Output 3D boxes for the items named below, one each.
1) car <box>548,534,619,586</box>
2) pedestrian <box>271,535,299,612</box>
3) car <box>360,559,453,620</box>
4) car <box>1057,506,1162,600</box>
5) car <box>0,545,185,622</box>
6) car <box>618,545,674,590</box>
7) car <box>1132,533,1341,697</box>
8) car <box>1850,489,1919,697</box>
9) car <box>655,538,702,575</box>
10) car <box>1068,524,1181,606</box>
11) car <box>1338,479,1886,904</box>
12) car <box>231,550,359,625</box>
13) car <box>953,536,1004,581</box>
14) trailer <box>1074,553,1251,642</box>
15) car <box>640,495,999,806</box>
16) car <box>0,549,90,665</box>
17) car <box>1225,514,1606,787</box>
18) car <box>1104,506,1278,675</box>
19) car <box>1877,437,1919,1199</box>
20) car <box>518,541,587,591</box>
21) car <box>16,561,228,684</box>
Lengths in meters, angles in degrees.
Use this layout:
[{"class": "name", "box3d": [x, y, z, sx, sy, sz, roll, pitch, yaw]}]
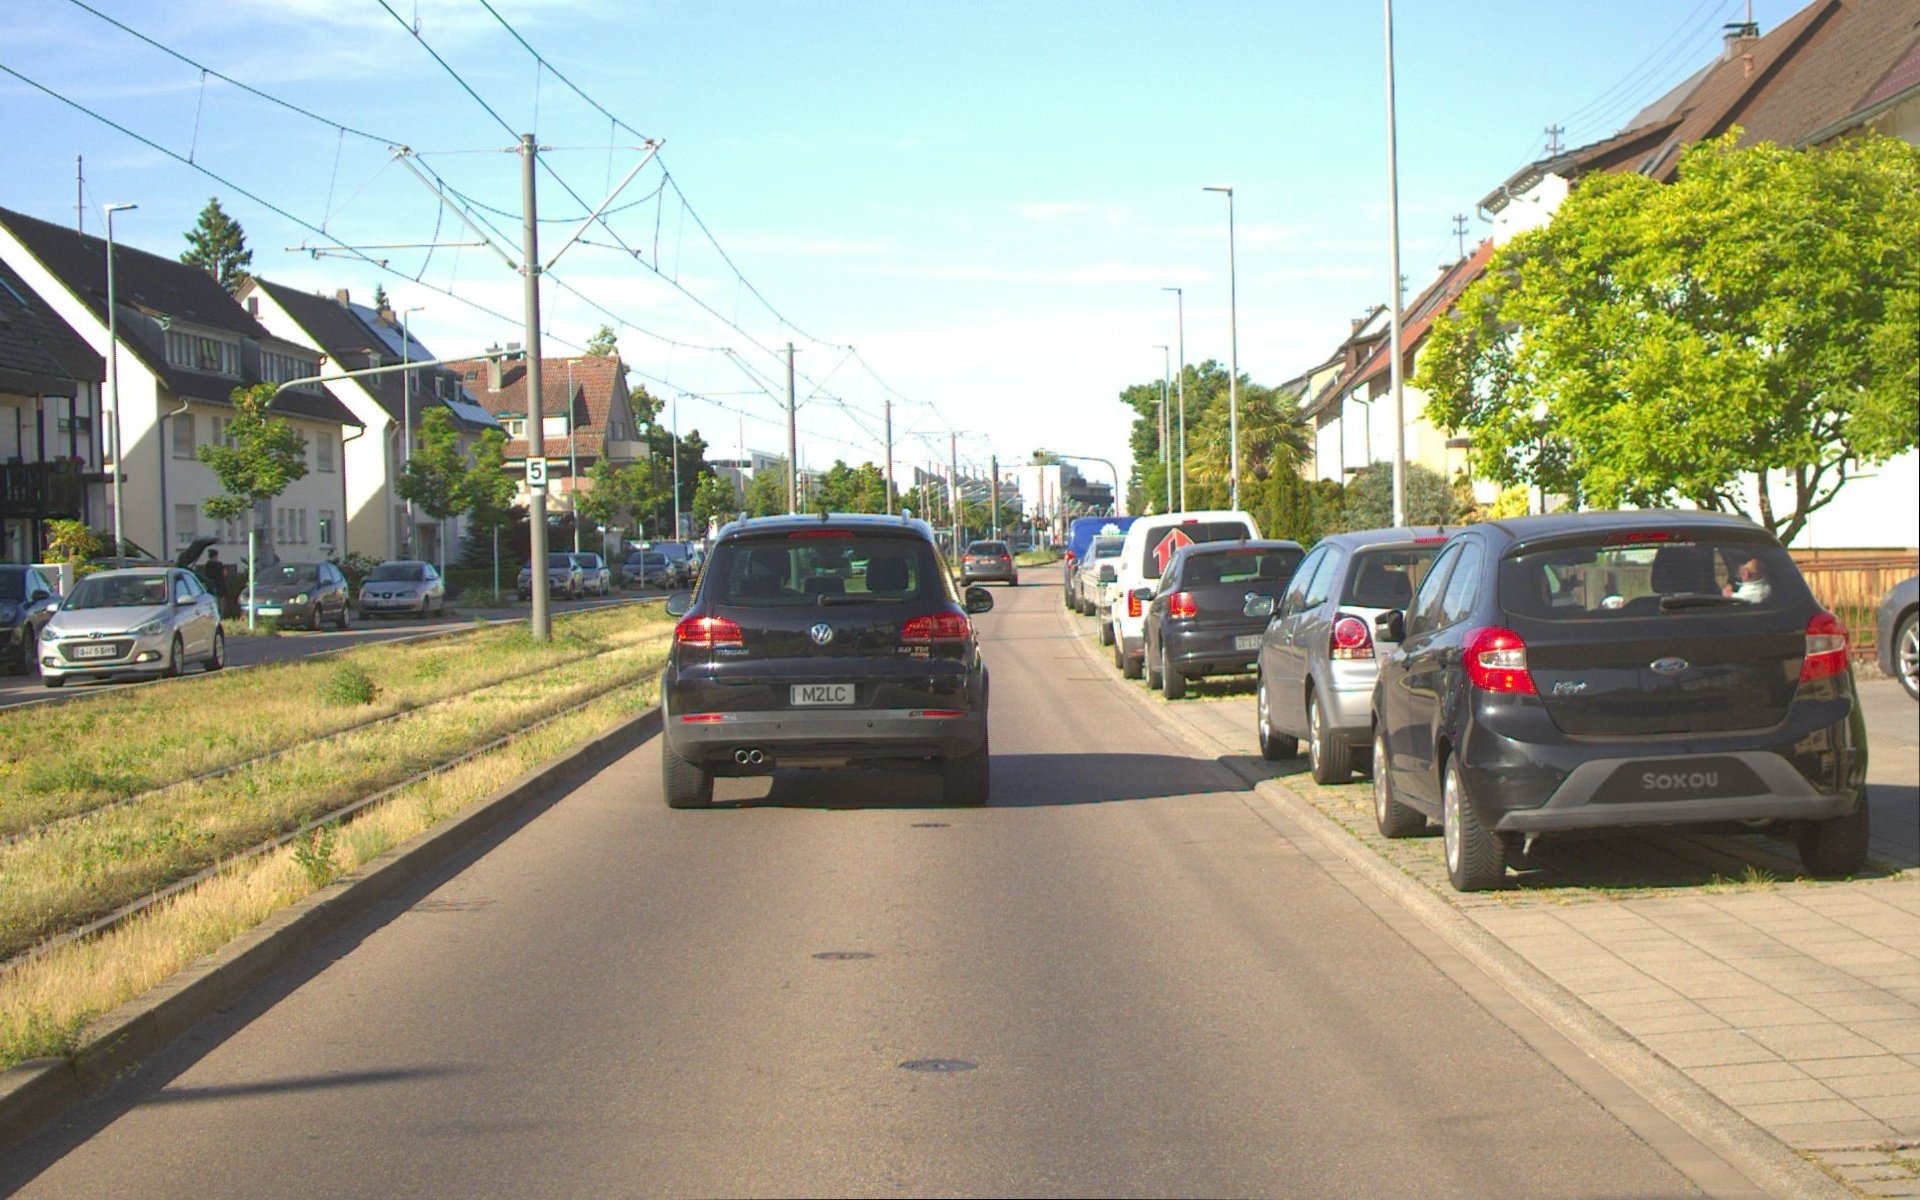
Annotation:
[{"class": "car", "box3d": [-12.494, -1.351, 114.259, 1.803, 1.626, 4.000, -2, 1, 1]}, {"class": "pedestrian", "box3d": [-15.412, -0.601, 78.516, 0.468, 1.740, 0.536, -2, 1, 0]}, {"class": "car", "box3d": [-13.652, -0.240, 84.979, 1.618, 1.404, 3.717, -2, -1, 1]}, {"class": "car", "box3d": [3.120, -0.998, 72.545, 1.993, 1.855, 4.917, -2, 1, 1]}, {"class": "car", "box3d": [-19.157, -0.370, 75.624, 3.901, 1.562, 1.735, -2, 1, -6]}, {"class": "car", "box3d": [-11.905, -1.235, 130.464, 1.660, 1.575, 4.000, -2, -1, 1]}, {"class": "car", "box3d": [2.625, 0.111, 33.369, 1.671, 1.448, 4.126, -2, 1, 0]}, {"class": "car", "box3d": [8.308, -0.092, 22.708, 1.993, 1.440, 4.883, -3, 1, -25]}, {"class": "car", "box3d": [-11.111, -1.729, 135.837, 1.515, 1.357, 3.590, -2, 1, 0]}, {"class": "car", "box3d": [3.126, -0.686, 66.175, 1.786, 1.436, 4.460, -3, 1, -1]}, {"class": "car", "box3d": [2.727, 0.316, 15.196, 1.666, 1.542, 3.835, -4, 1, 1]}, {"class": "car", "box3d": [-13.932, -0.285, 72.170, 1.619, 1.448, 3.717, -2, 1, 5]}, {"class": "car", "box3d": [0.579, -1.348, 110.515, 1.572, 1.386, 3.614, -2, 1, 0]}, {"class": "trailer", "box3d": [2.859, -0.065, 49.453, 2.204, 1.090, 4.372, -3, 1, 0]}, {"class": "car", "box3d": [-0.947, 0.254, 20.650, 1.811, 1.665, 4.259, 0, 1, -7]}, {"class": "car", "box3d": [-14.290, 0.087, 50.807, 1.802, 1.591, 4.813, -2, 1, -3]}, {"class": "car", "box3d": [2.705, 0.254, 21.340, 1.615, 1.470, 4.450, -2, 1, -2]}, {"class": "car", "box3d": [2.574, -0.150, 39.218, 1.690, 1.770, 4.656, -2, 1, 1]}, {"class": "car", "box3d": [2.822, 0.524, 4.707, 1.854, 1.653, 4.474, -2, 1, -1]}, {"class": "car", "box3d": [-12.785, -1.079, 107.979, 1.659, 1.491, 3.579, -2, 1, 1]}, {"class": "car", "box3d": [-10.914, 0.297, 45.020, 1.708, 1.485, 4.024, -2, -1, 1]}]
